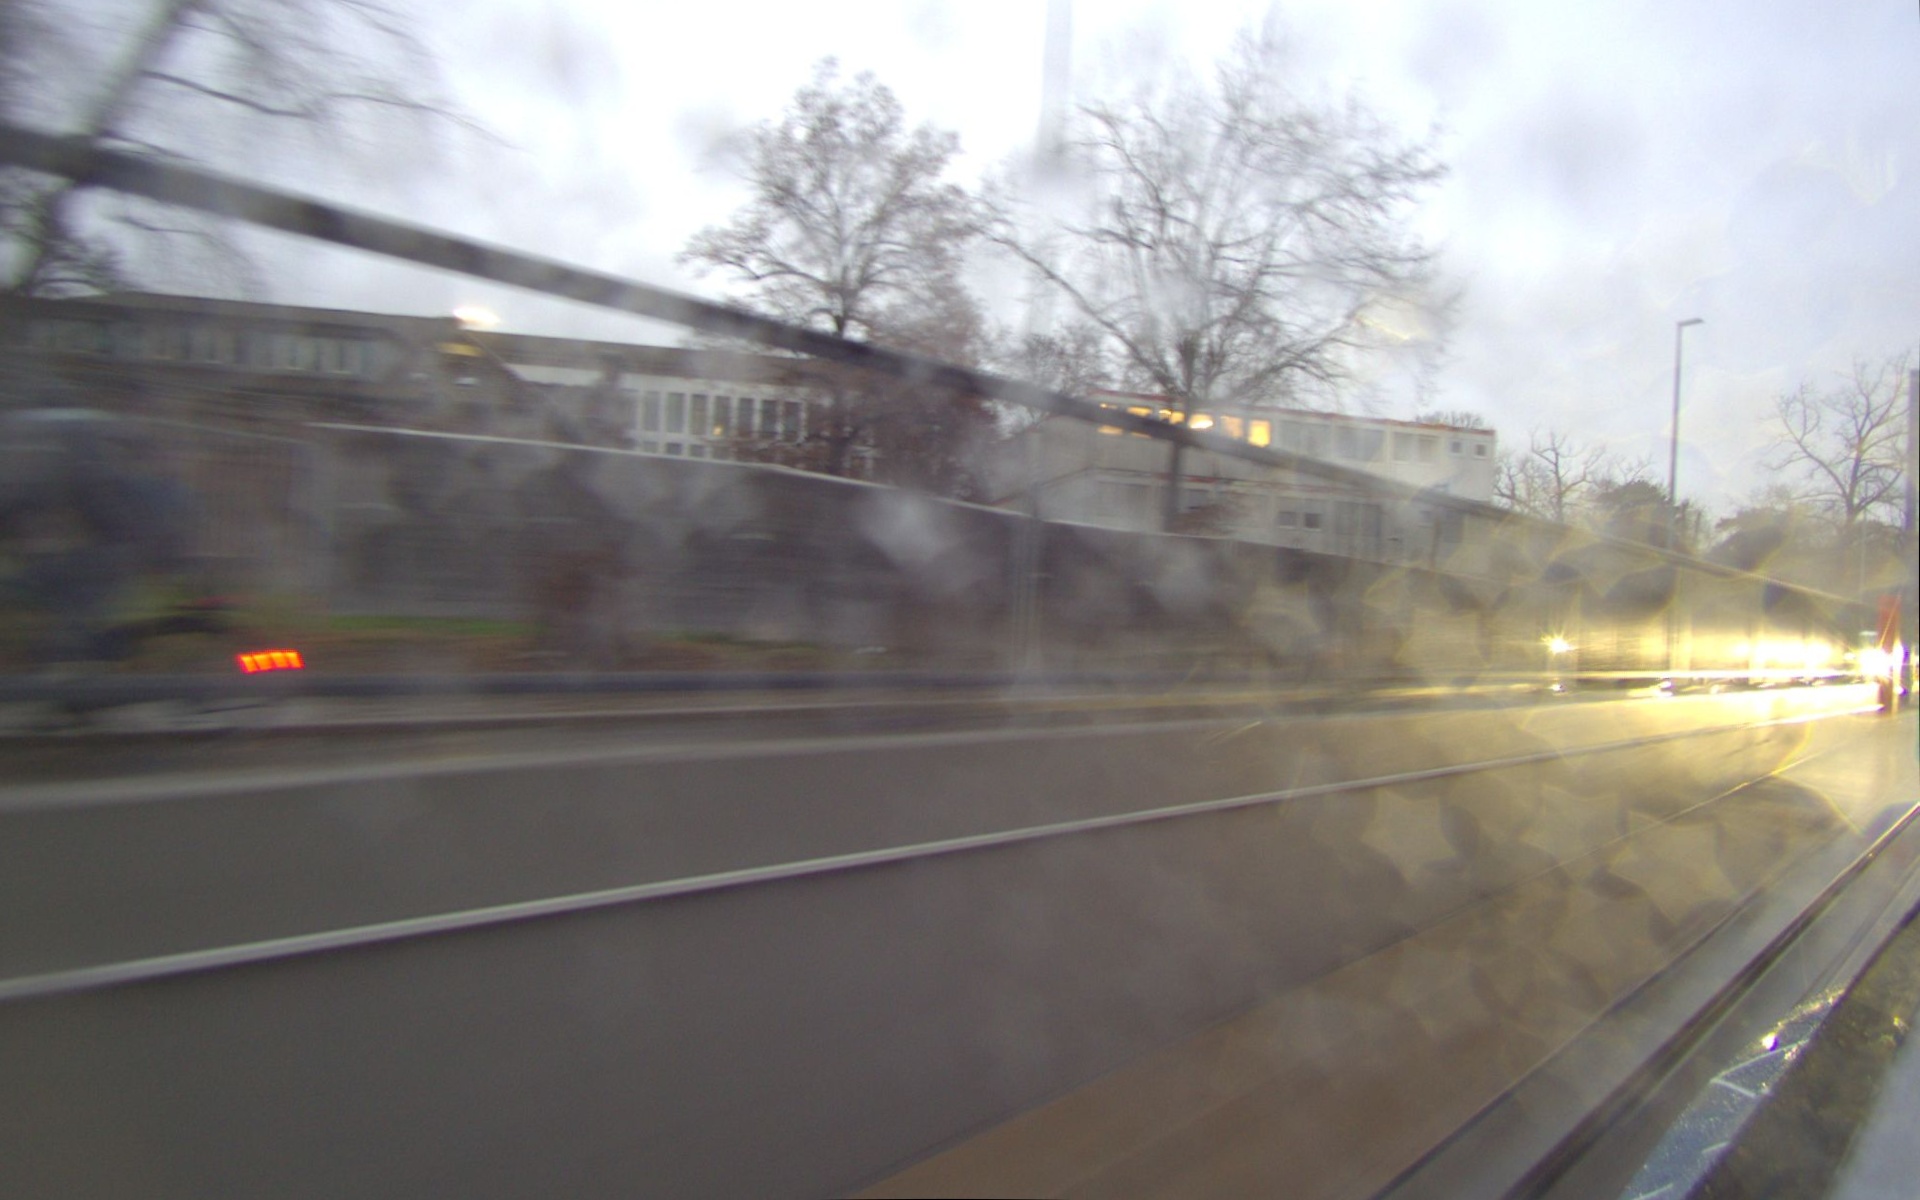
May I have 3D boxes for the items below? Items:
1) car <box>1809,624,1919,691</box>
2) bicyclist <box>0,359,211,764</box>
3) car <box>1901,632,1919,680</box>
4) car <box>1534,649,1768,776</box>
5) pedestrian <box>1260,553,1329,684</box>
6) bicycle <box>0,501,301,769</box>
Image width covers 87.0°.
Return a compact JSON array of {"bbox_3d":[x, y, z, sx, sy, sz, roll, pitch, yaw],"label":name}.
[{"bbox_3d":[23.473,1.409,25.883,4.877,1.520,1.791,1,0,-39],"label":"car"},{"bbox_3d":[-4.192,-0.163,4.877,0.822,1.789,0.501,3,-1,-41],"label":"bicyclist"},{"bbox_3d":[32.248,1.841,32.871,3.965,1.480,1.779,2,-1,-37],"label":"car"},{"bbox_3d":[9.952,1.487,14.484,3.927,1.498,1.726,2,-2,-39],"label":"car"},{"bbox_3d":[5.007,0.273,15.135,0.885,1.903,0.532,3,-1,-41],"label":"pedestrian"},{"bbox_3d":[-4.346,0.158,4.769,1.993,1.200,0.412,3,-1,-42],"label":"bicycle"}]
